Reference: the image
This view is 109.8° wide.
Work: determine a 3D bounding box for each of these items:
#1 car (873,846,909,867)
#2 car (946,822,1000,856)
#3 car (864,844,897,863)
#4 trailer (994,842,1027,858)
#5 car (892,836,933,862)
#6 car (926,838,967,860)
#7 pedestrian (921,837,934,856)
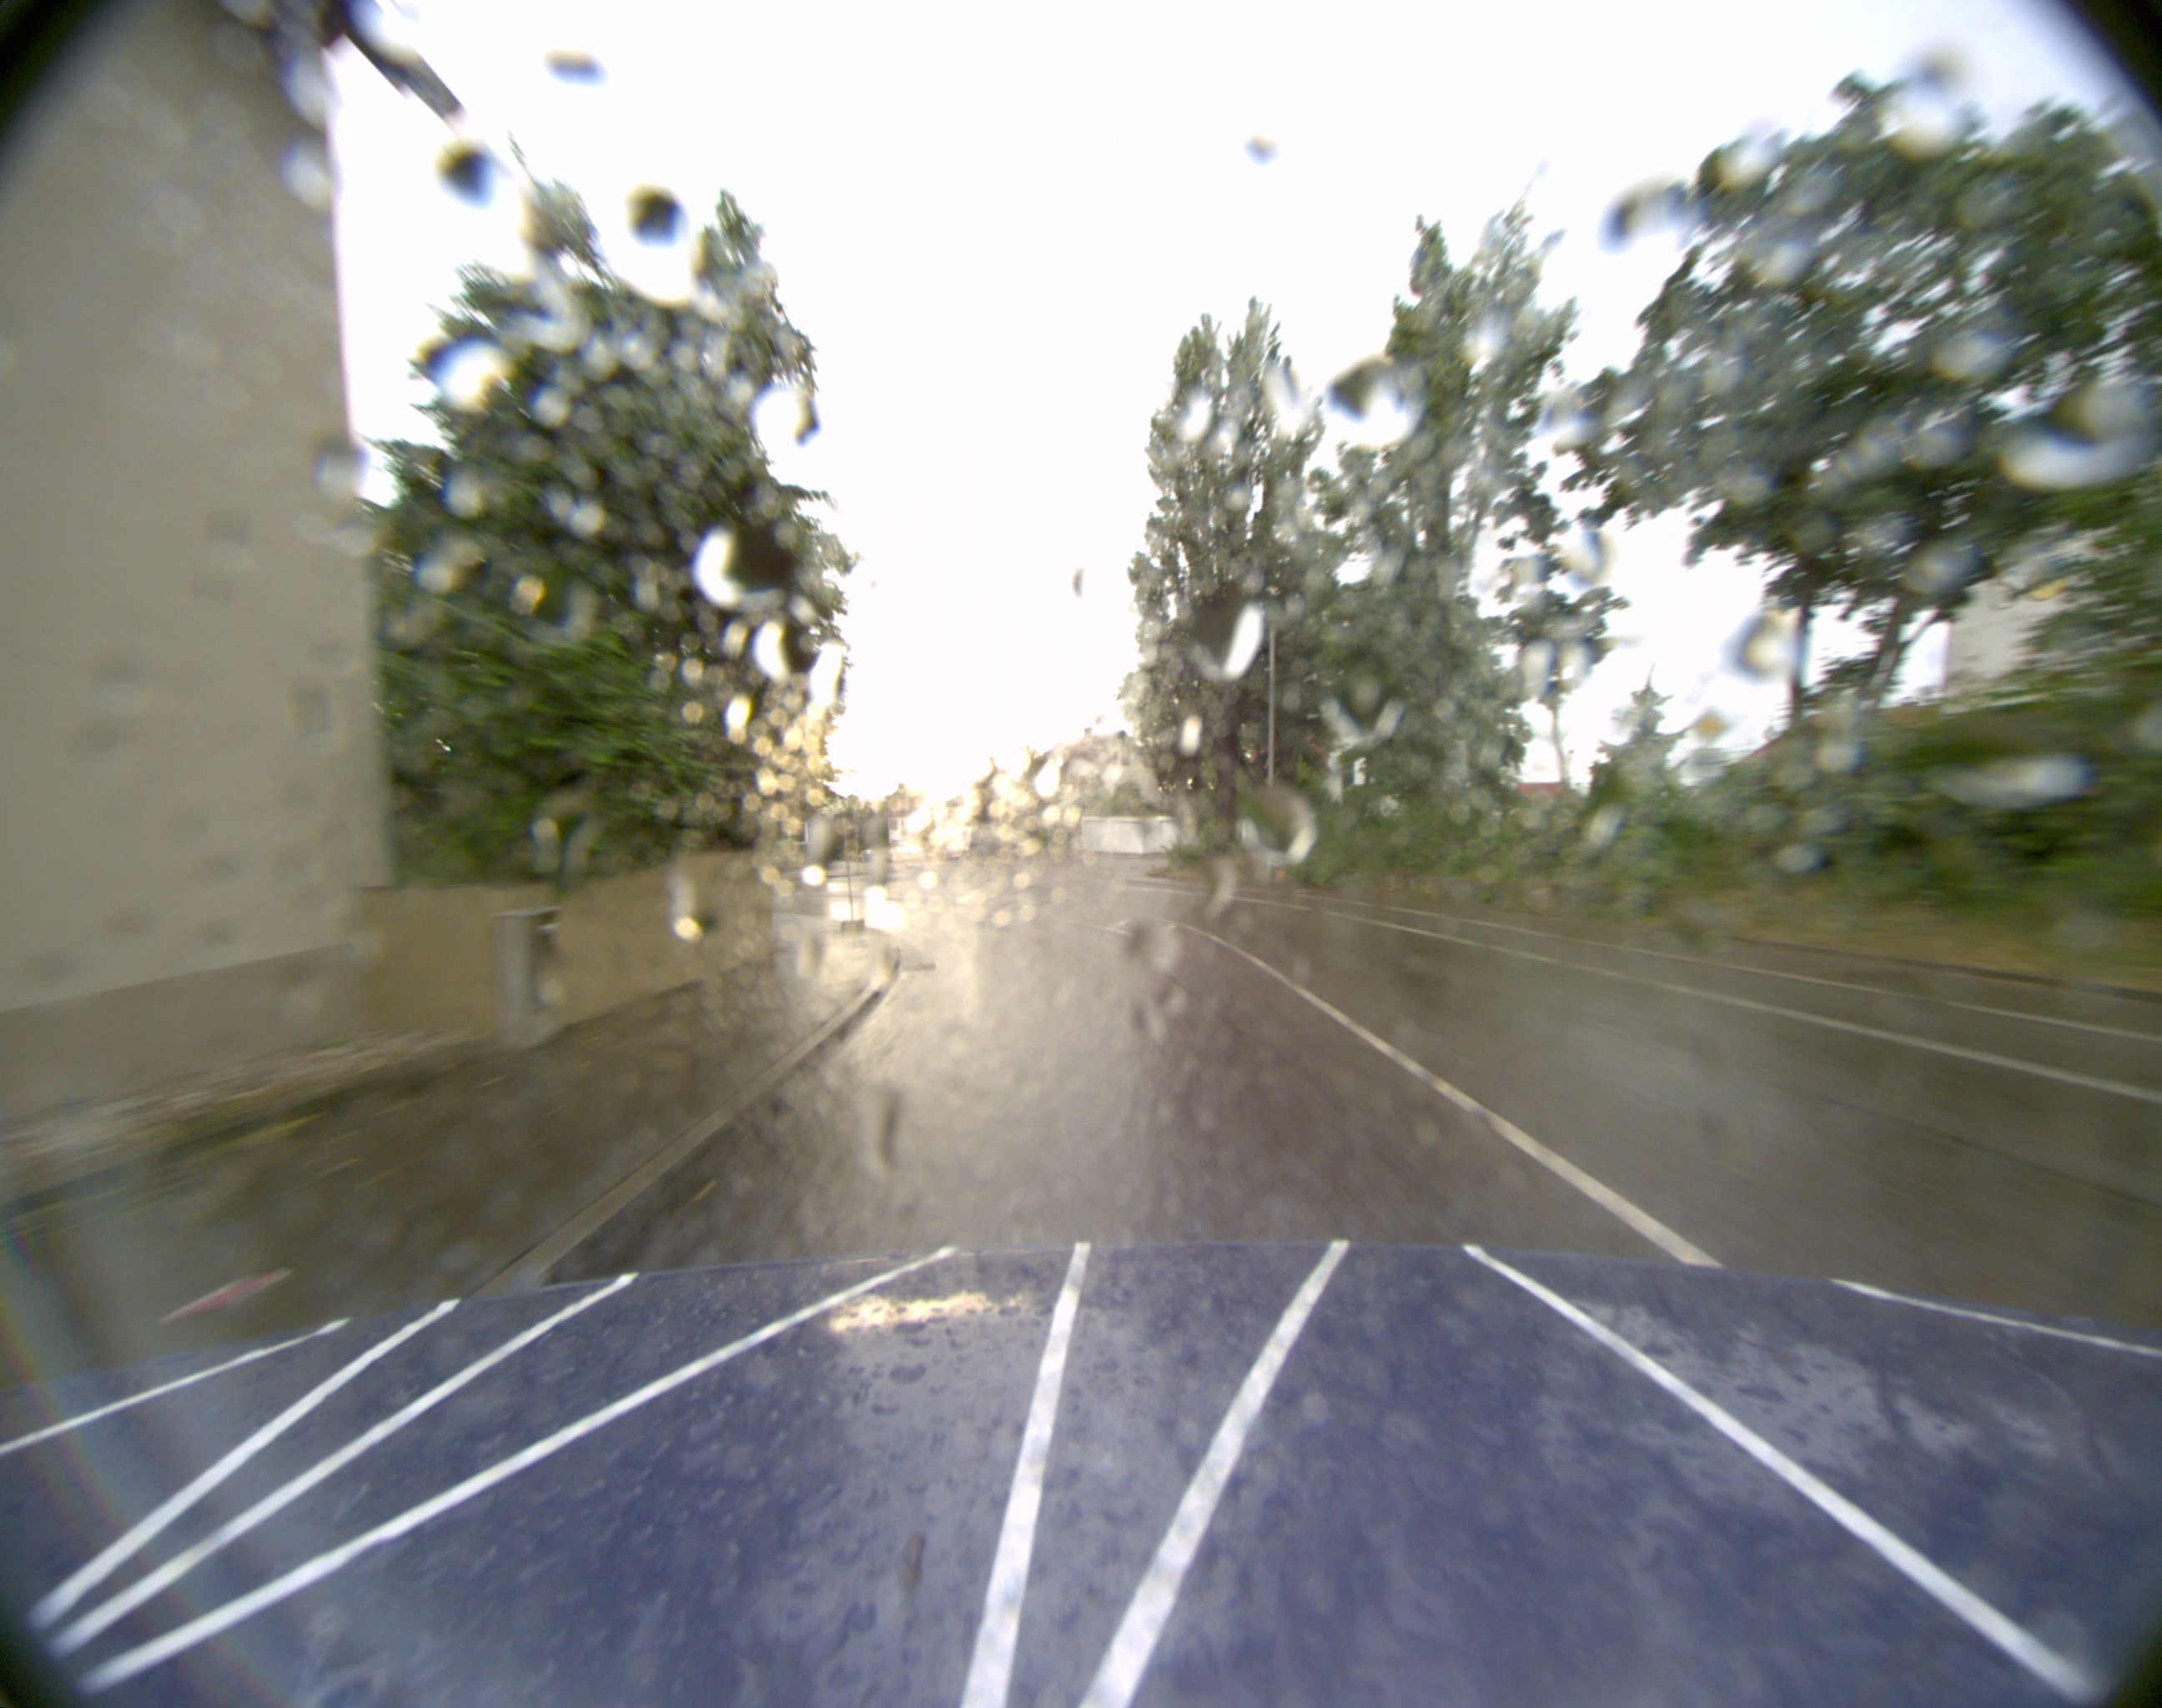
[{"bbox_3d":[-15.793,0.154,62.953,2.069,1.502,4.472,-4,3,-24],"label":"car"},{"bbox_3d":[-8.794,-1.213,61.300,2.193,2.510,6.238,-5,3,-27],"label":"car"},{"bbox_3d":[-18.026,-0.079,68.143,2.069,1.502,4.472,-4,3,-24],"label":"car"},{"bbox_3d":[-5.099,-0.319,54.951,1.594,1.001,2.817,-5,3,-21],"label":"trailer"},{"bbox_3d":[-12.707,-0.417,57.108,2.069,1.697,4.783,-4,3,-24],"label":"car"},{"bbox_3d":[-12.007,-0.477,67.534,2.070,1.697,4.782,-5,3,-28],"label":"car"},{"bbox_3d":[-13.219,-0.652,65.590,0.826,1.502,0.975,-5,4,-24],"label":"pedestrian"}]
